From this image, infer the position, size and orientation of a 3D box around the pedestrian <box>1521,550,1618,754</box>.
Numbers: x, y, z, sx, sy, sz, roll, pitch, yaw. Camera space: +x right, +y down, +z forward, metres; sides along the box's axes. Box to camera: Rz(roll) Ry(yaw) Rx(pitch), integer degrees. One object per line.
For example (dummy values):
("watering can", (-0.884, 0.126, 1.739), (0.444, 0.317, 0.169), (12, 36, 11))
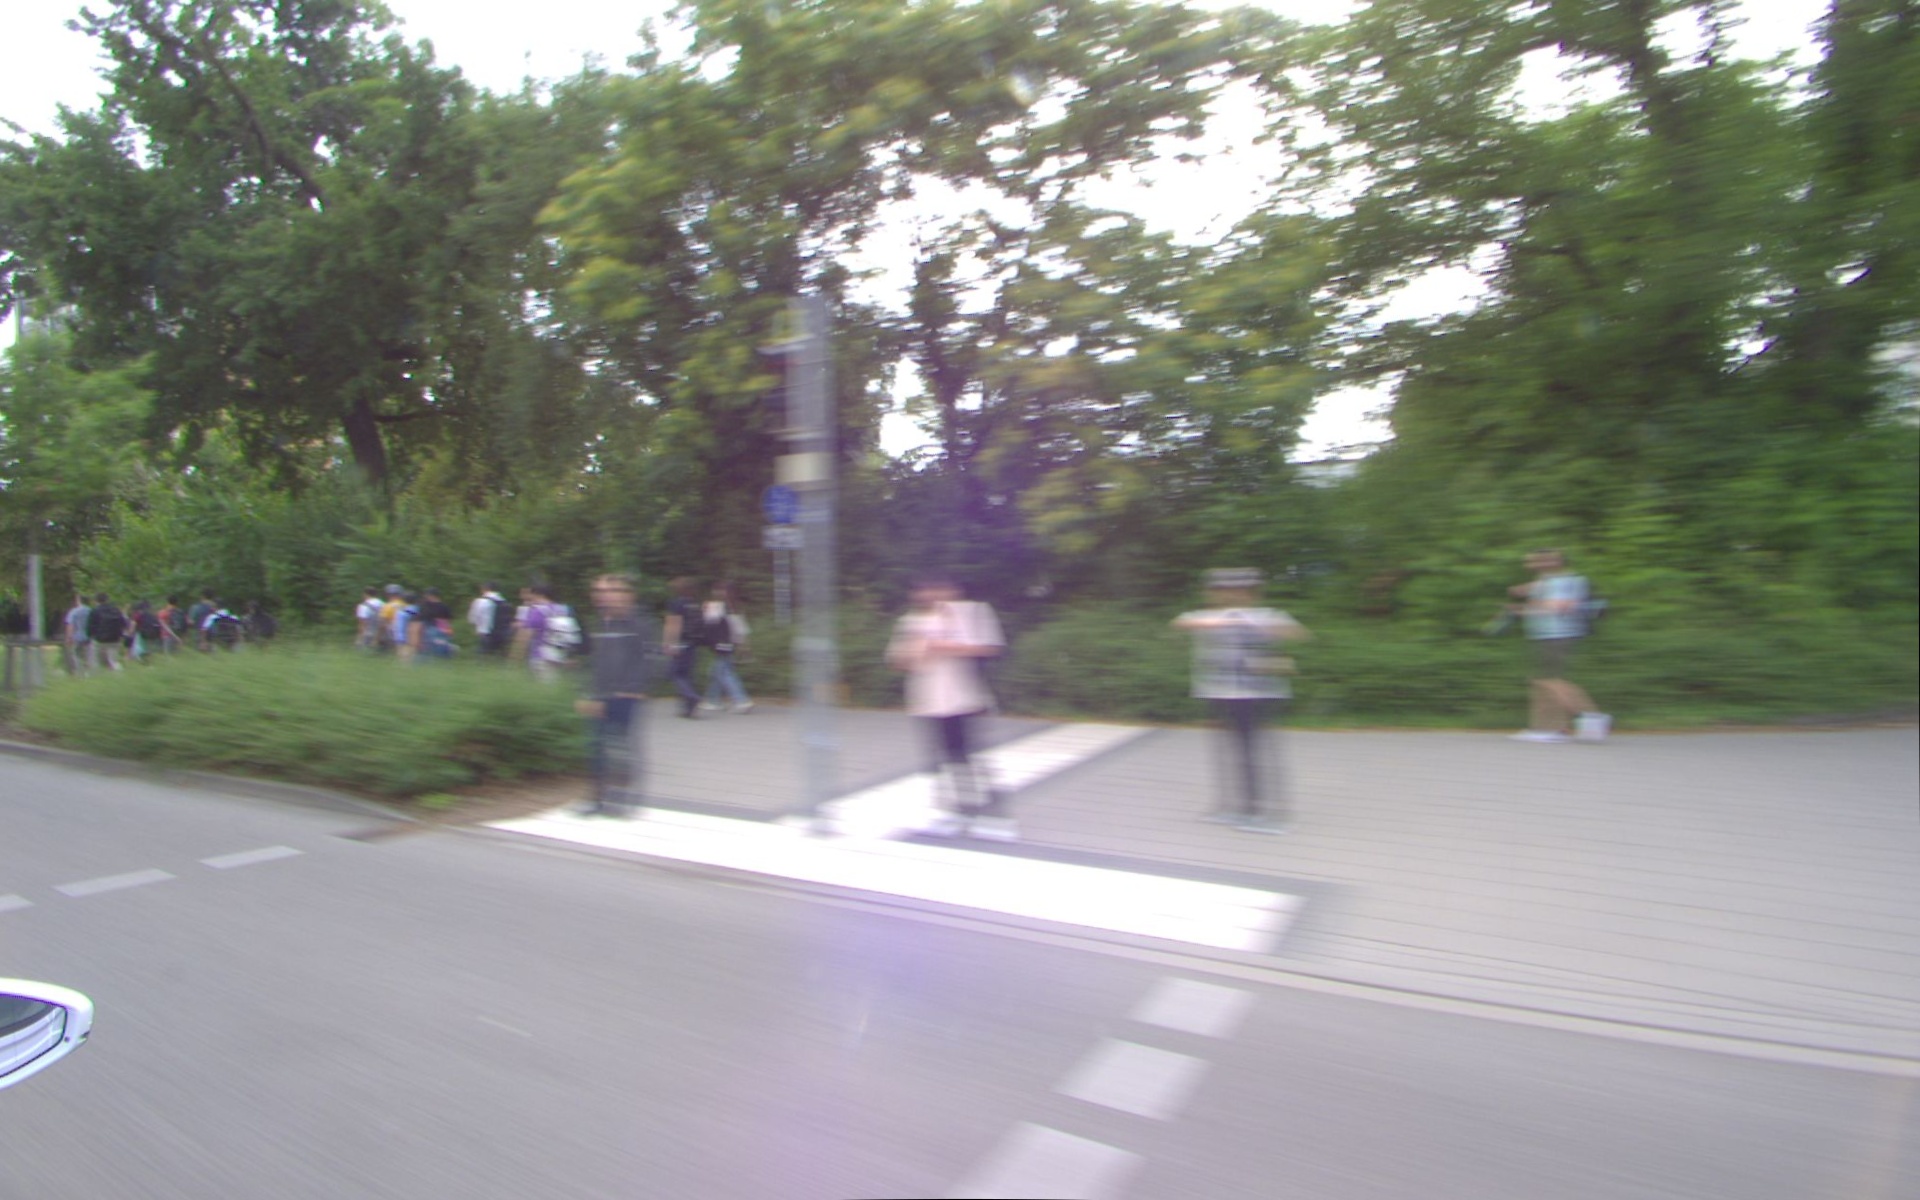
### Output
("pedestrian", (5.683, 0.470, 9.371), (0.729, 1.819, 0.644), (0, 0, 28))

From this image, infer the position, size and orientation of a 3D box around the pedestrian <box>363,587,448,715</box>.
("pedestrian", (-7.481, 0.672, 13.518), (0.799, 1.670, 0.656), (0, 1, 28))

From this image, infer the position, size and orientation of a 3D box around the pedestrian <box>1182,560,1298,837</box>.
("pedestrian", (1.838, 0.612, 6.547), (0.627, 1.709, 0.545), (0, 0, 28))

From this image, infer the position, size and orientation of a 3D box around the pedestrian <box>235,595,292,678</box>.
("pedestrian", (-13.725, 0.702, 19.731), (0.773, 1.605, 0.634), (0, 1, 30))

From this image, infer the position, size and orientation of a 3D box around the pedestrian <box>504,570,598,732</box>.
("pedestrian", (-4.627, 0.558, 11.346), (0.768, 1.768, 0.623), (0, 1, 28))

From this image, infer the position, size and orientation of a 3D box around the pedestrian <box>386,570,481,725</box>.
("pedestrian", (-6.236, 0.540, 11.874), (0.768, 1.768, 0.656), (0, 1, 28))

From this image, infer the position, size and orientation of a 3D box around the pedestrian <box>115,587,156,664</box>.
("pedestrian", (-18.002, 0.548, 21.859), (0.643, 1.655, 0.467), (0, 1, 30))

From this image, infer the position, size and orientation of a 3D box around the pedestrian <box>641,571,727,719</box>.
("pedestrian", (-3.417, 0.539, 12.424), (0.768, 1.768, 0.656), (0, 1, 28))

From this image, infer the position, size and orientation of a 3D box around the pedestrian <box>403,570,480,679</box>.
("pedestrian", (-8.280, 0.384, 15.991), (0.956, 1.689, 0.656), (0, 1, 28))

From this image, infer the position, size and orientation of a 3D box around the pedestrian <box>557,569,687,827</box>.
("pedestrian", (-2.434, 0.675, 7.239), (0.644, 1.758, 0.601), (0, 0, 28))

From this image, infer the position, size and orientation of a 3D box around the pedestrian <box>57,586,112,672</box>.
("pedestrian", (-18.267, 0.604, 20.903), (0.802, 1.758, 0.618), (0, 1, 30))

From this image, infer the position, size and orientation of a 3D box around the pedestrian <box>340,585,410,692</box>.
("pedestrian", (-9.953, 0.642, 17.046), (0.800, 1.768, 0.720), (0, 1, 30))

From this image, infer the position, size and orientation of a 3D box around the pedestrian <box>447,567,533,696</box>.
("pedestrian", (-6.770, 0.445, 14.426), (0.943, 1.790, 0.656), (0, 1, 28))

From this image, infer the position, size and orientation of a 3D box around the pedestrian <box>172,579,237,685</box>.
("pedestrian", (-13.484, 0.553, 17.877), (0.800, 1.845, 0.655), (0, 1, 30))

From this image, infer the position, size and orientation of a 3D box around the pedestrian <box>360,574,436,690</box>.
("pedestrian", (-8.547, 0.471, 15.232), (0.829, 1.712, 0.656), (0, 1, 28))

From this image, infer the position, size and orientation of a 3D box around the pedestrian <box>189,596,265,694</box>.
("pedestrian", (-12.461, 0.742, 17.025), (0.800, 1.624, 0.774), (0, 1, 30))

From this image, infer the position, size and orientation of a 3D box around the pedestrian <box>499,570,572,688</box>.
("pedestrian", (-6.380, 0.429, 15.047), (0.768, 1.722, 0.656), (0, 1, 28))

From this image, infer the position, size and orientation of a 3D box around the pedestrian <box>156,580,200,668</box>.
("pedestrian", (-16.312, 0.494, 20.890), (0.654, 1.787, 0.483), (0, 1, 30))

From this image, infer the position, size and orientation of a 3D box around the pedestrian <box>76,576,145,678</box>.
("pedestrian", (-15.879, 0.498, 18.711), (0.940, 1.845, 0.692), (0, 1, 30))

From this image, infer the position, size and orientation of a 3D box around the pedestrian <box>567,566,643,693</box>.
("pedestrian", (-5.089, 0.411, 14.367), (0.768, 1.768, 0.656), (0, 1, 28))

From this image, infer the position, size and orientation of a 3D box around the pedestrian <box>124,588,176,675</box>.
("pedestrian", (-16.015, 0.612, 19.808), (0.742, 1.677, 0.555), (0, 1, 30))

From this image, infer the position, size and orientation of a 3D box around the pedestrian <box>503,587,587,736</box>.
("pedestrian", (-5.090, 0.728, 12.286), (0.777, 1.768, 0.580), (0, 1, 28))

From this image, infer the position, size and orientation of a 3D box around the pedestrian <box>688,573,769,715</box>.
("pedestrian", (-2.993, 0.555, 12.981), (0.768, 1.768, 0.656), (0, 1, 28))

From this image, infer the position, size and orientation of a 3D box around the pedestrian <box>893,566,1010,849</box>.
("pedestrian", (-0.052, 0.674, 6.577), (0.627, 1.758, 0.453), (0, 0, 28))

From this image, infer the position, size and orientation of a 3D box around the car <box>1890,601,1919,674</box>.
("car", (20.289, 0.787, 19.866), (1.523, 1.498, 4.093), (1, 0, 26))
